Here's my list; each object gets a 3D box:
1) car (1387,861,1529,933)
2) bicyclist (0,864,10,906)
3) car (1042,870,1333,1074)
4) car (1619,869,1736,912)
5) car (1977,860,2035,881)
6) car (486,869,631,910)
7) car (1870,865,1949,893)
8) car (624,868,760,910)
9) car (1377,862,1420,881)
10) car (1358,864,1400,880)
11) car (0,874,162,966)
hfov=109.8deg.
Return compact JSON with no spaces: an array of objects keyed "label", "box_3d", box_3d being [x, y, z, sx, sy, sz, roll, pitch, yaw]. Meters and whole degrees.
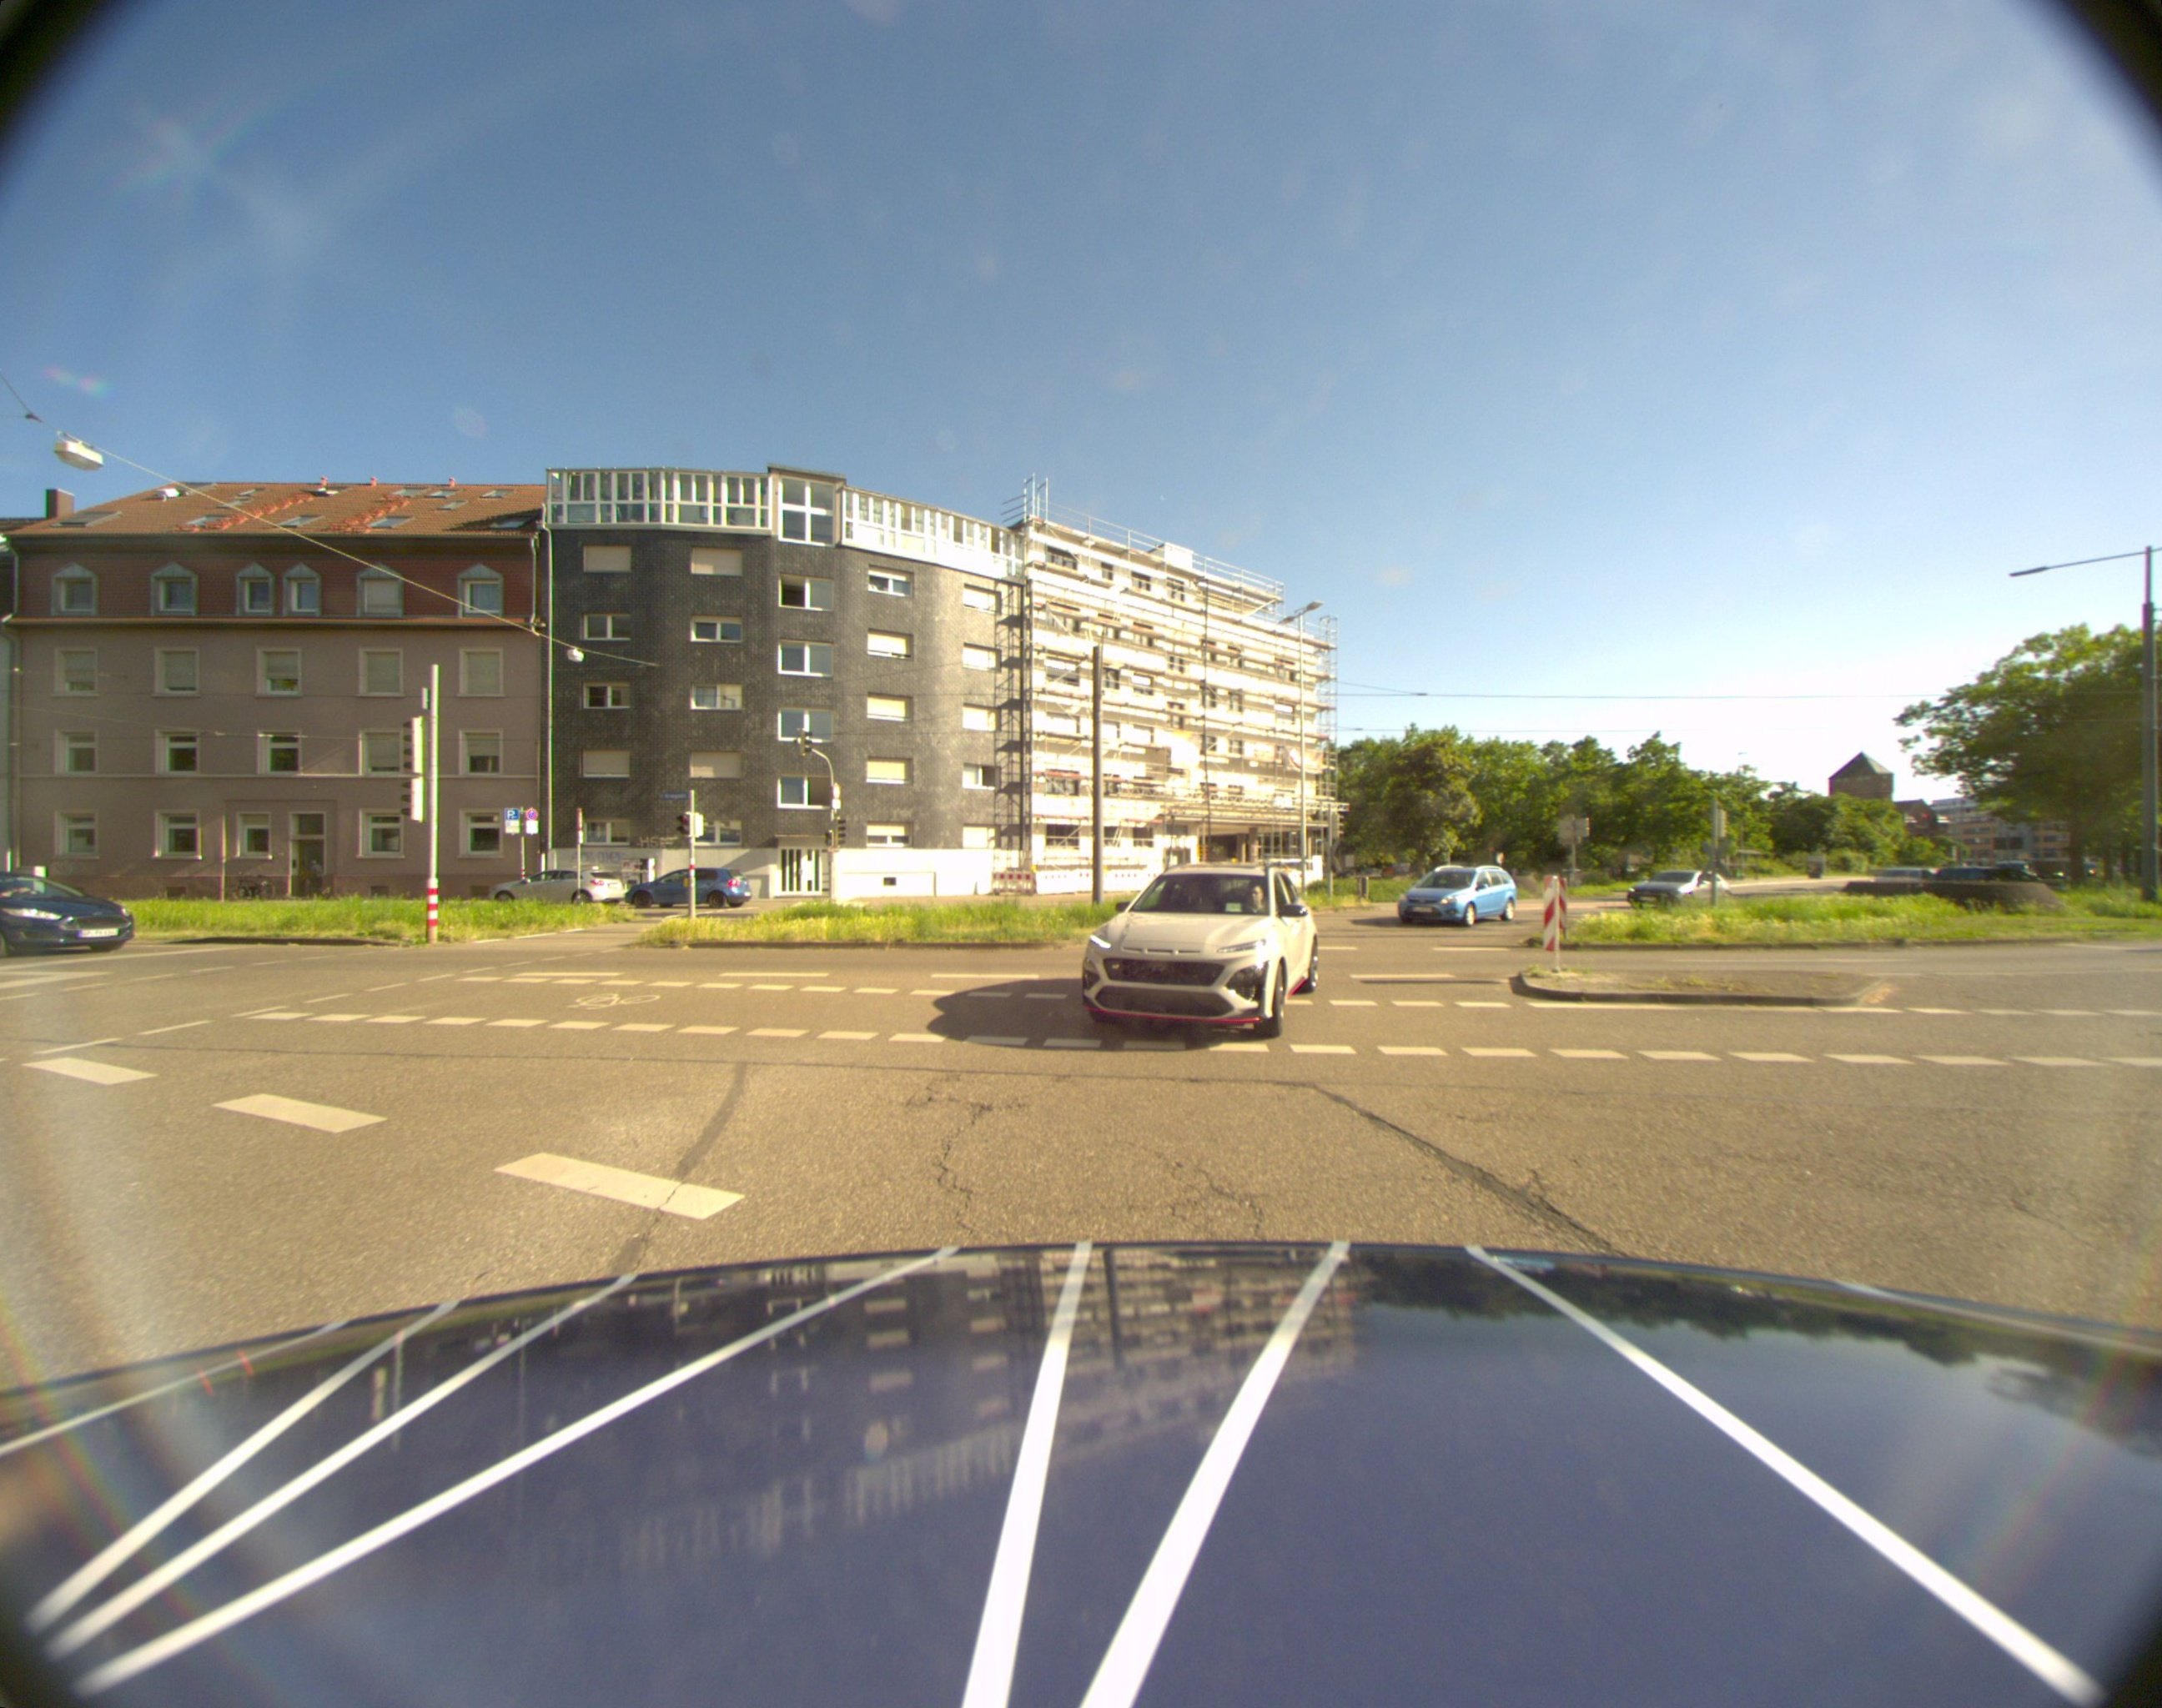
[{"label":"car","box_3d":[10.386,1.066,20.782,4.494,1.765,1.868,0,0,-40]},{"label":"bicyclist","box_3d":[-36.407,1.047,25.276,0.805,1.401,0.509,0,0,-2]},{"label":"car","box_3d":[1.483,0.974,8.374,1.901,1.543,4.493,0,0,25]},{"label":"car","box_3d":[22.066,1.281,28.069,4.492,1.447,1.869,0,0,-30]},{"label":"car","box_3d":[67.260,1.164,55.224,4.492,1.447,1.869,0,0,-29]},{"label":"car","box_3d":[-18.582,1.242,27.152,3.997,1.407,1.689,0,0,0]},{"label":"car","box_3d":[44.955,1.335,41.214,4.492,1.447,1.869,0,0,-29]},{"label":"car","box_3d":[-13.824,1.233,27.145,3.997,1.407,1.689,0,0,0]},{"label":"car","box_3d":[27.938,1.504,66.862,3.692,1.574,1.817,0,0,-34]},{"label":"car","box_3d":[27.053,1.624,68.967,3.692,1.386,1.817,0,0,-34]},{"label":"car","box_3d":[-18.604,1.061,12.884,3.996,1.444,1.735,0,-2,2]}]
